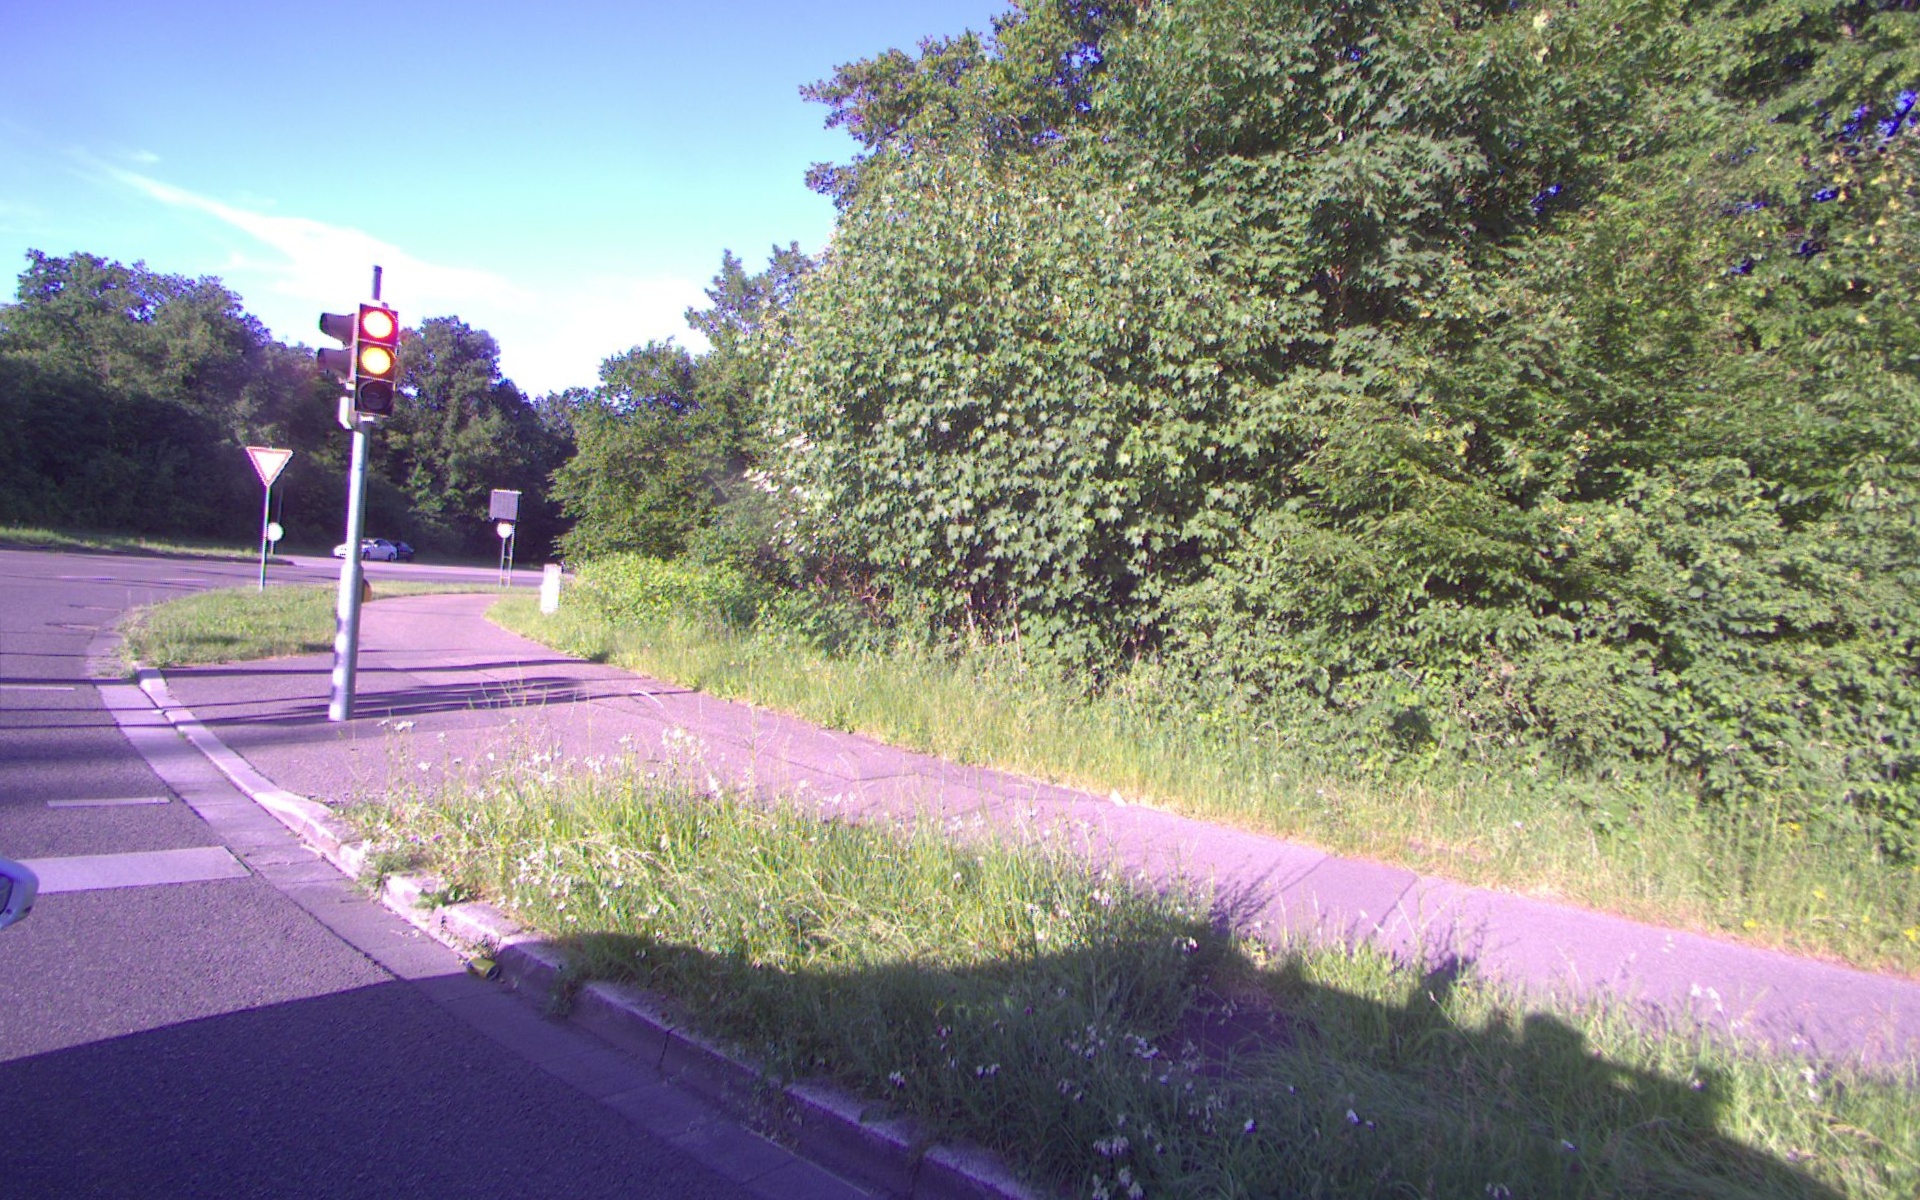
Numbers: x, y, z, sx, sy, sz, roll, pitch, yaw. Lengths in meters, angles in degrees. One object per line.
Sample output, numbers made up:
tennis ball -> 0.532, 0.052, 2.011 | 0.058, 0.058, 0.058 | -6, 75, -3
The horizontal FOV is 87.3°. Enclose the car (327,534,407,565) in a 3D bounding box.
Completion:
car -> -36.349, -3.092, 61.820 | 1.963, 1.454, 4.806 | 6, 0, 0

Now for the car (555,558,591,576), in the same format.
car -> -39.823, -3.403, 103.619 | 1.963, 1.548, 4.649 | 6, 0, -2
